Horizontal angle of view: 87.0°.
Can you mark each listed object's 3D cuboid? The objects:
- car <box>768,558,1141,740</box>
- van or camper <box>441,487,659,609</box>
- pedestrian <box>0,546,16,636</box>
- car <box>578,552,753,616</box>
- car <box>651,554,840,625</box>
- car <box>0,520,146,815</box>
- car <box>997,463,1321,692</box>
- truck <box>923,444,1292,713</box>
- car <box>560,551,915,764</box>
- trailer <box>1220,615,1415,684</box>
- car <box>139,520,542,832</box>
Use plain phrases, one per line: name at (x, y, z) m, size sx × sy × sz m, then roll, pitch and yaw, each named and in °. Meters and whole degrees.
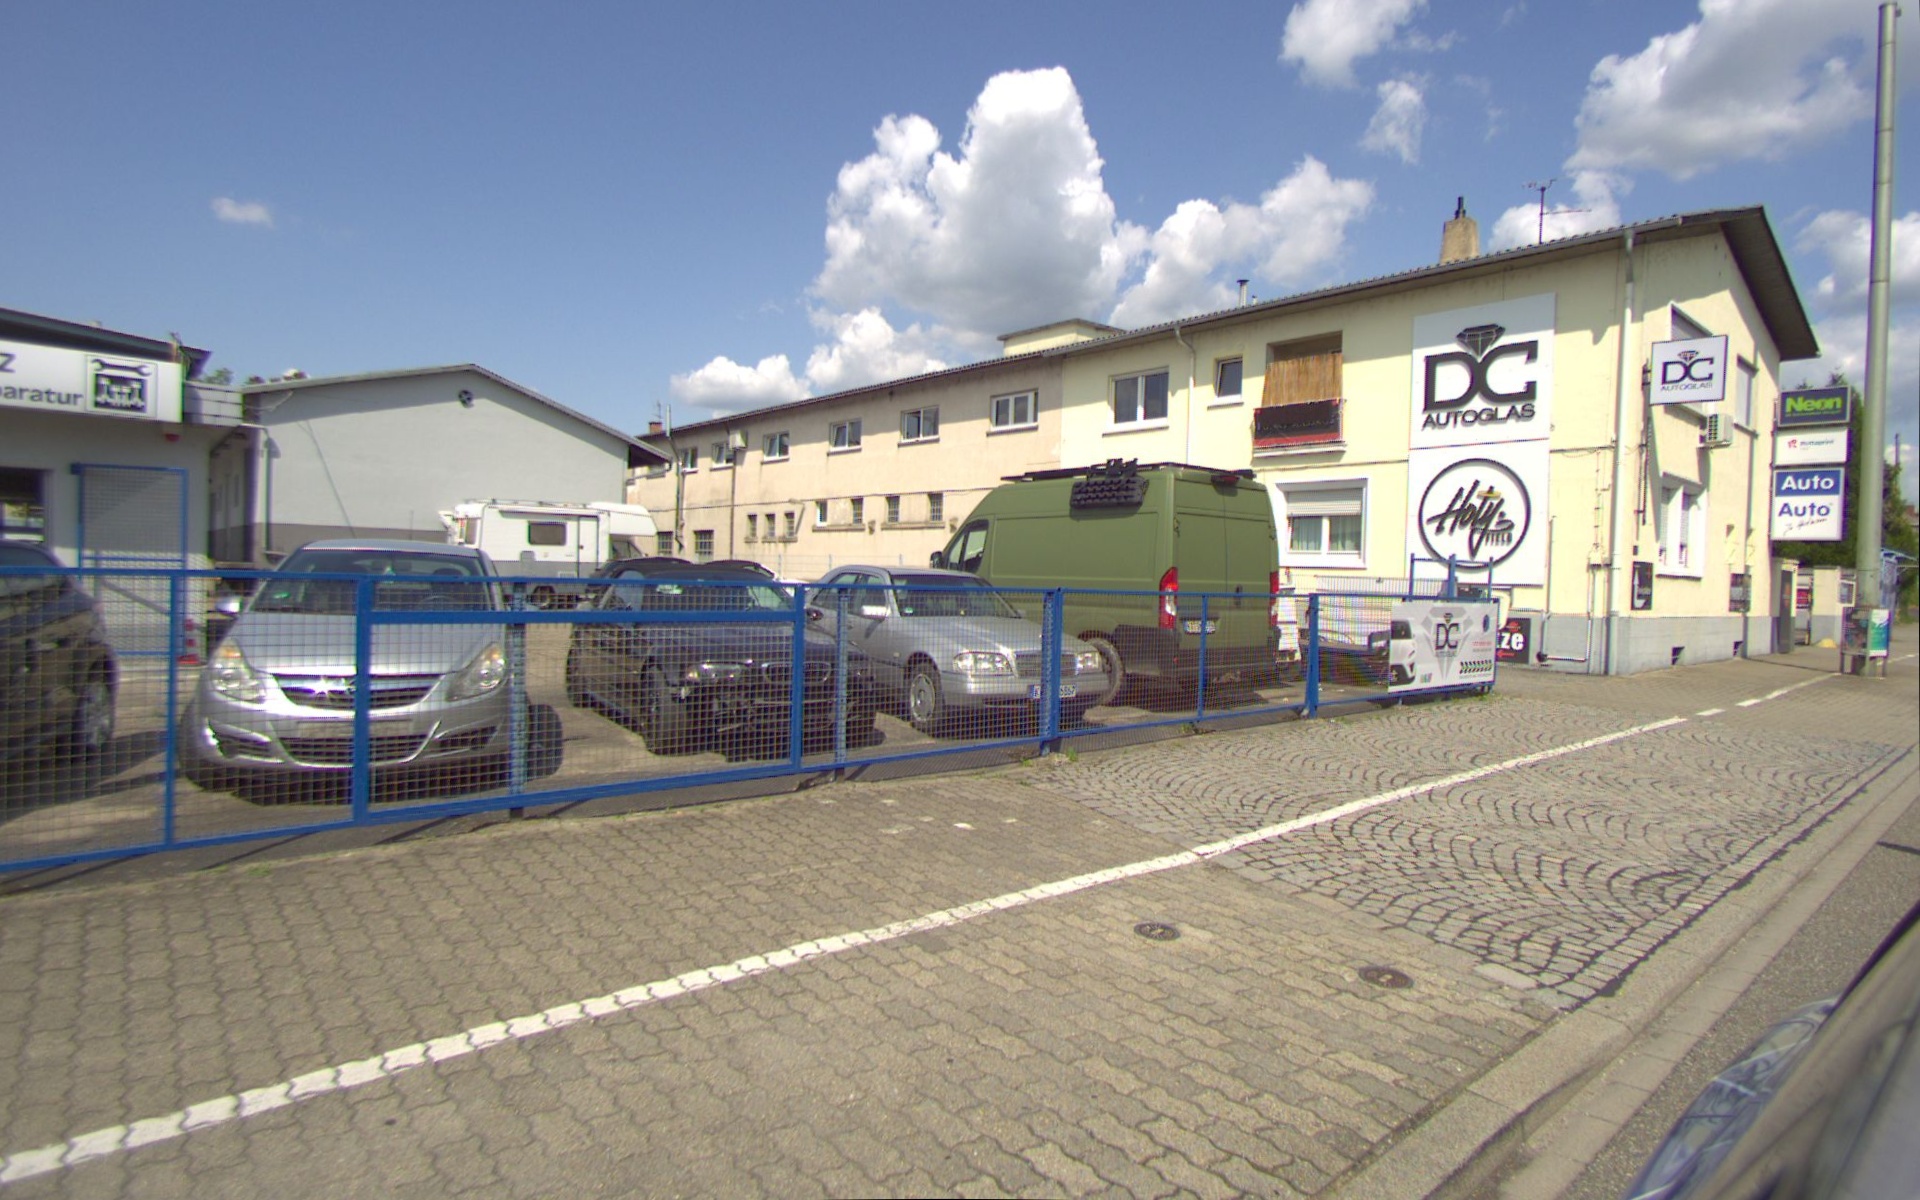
car at (-0.296, 0.319, 10.213) m, size 1.768 × 1.413 × 4.216 m, roll 1°, pitch 2°, yaw -33°
van or camper at (-11.009, -1.324, 27.375) m, size 4.971 × 2.999 × 2.284 m, roll 0°, pitch 2°, yaw -42°
pedestrian at (-13.259, -0.129, 13.848) m, size 0.479 × 1.228 × 0.501 m, roll 1°, pitch 1°, yaw -42°
car at (-7.480, -0.411, 25.897) m, size 3.939 × 1.497 × 1.719 m, roll 0°, pitch 2°, yaw -41°
car at (-4.927, -0.246, 23.527) m, size 3.939 × 1.497 × 1.719 m, roll 0°, pitch 2°, yaw -41°
car at (-5.747, 0.324, 5.041) m, size 1.685 × 1.497 × 4.012 m, roll 1°, pitch 2°, yaw -25°
car at (2.612, -0.346, 14.151) m, size 1.771 × 2.702 × 4.208 m, roll 1°, pitch 2°, yaw -40°
truck at (1.609, -0.285, 12.141) m, size 2.033 × 2.639 × 3.996 m, roll 1°, pitch 2°, yaw -40°
car at (-2.125, 0.310, 8.754) m, size 1.768 × 1.403 × 3.837 m, roll 1°, pitch 2°, yaw -32°
trailer at (5.082, 0.669, 14.536) m, size 1.245 × 0.776 × 2.330 m, roll 0°, pitch 2°, yaw -39°
car at (-3.951, 0.302, 7.110) m, size 1.766 × 1.497 × 4.158 m, roll 1°, pitch 2°, yaw -24°
